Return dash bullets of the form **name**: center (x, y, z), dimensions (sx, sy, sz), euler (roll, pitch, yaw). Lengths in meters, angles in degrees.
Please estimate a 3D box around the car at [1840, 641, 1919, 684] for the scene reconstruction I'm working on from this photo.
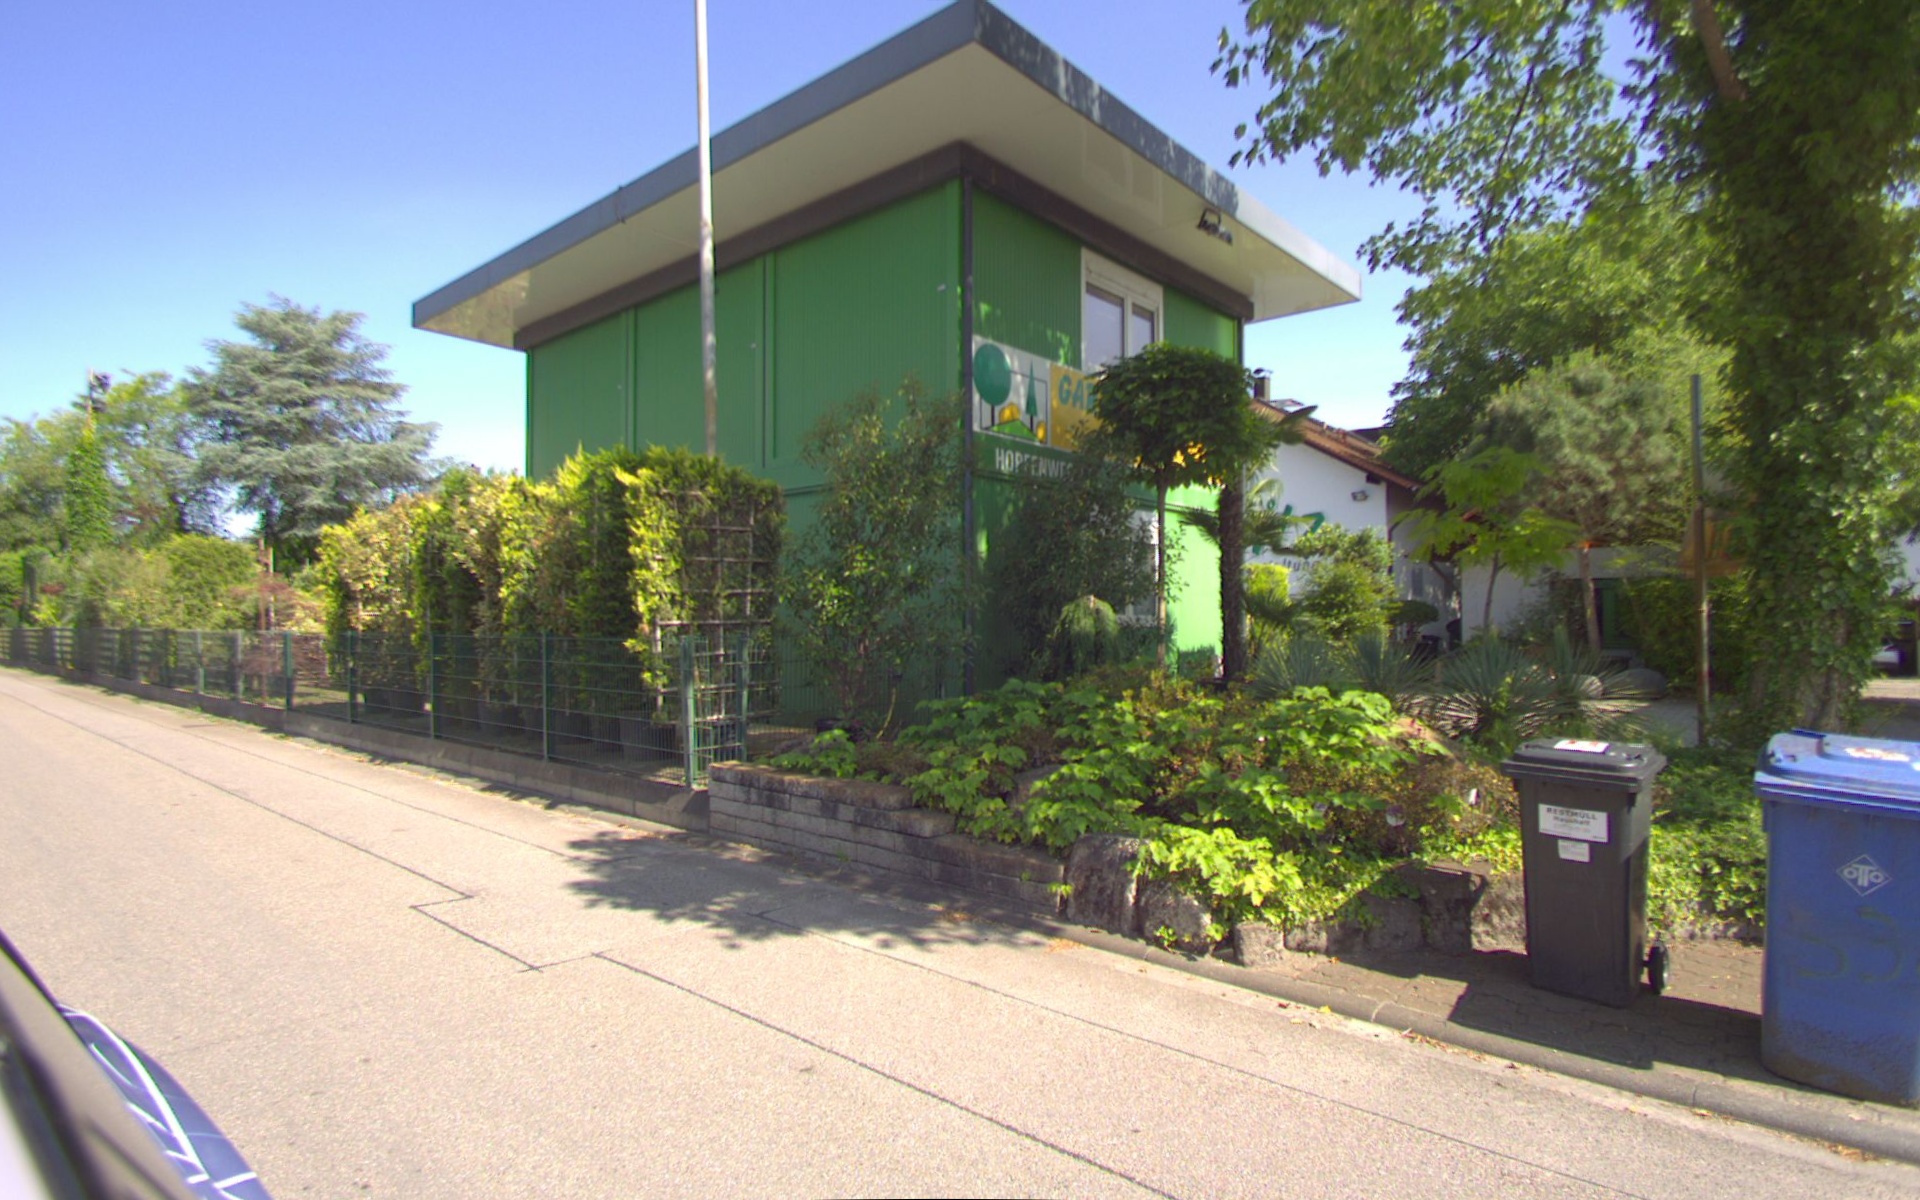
- **car**: center (33.598, 2.223, 36.922), dimensions (3.940, 1.453, 1.904), euler (2, -3, -44)

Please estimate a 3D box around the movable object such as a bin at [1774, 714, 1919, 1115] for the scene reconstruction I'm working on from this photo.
- **movable object such as a bin**: center (2.979, 0.939, 3.171), dimensions (0.612, 1.062, 0.723), euler (-2, -1, 42)

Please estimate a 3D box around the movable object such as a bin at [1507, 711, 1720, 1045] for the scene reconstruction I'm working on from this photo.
- **movable object such as a bin**: center (2.451, 0.975, 3.794), dimensions (0.568, 1.032, 0.576), euler (-2, -1, 42)
